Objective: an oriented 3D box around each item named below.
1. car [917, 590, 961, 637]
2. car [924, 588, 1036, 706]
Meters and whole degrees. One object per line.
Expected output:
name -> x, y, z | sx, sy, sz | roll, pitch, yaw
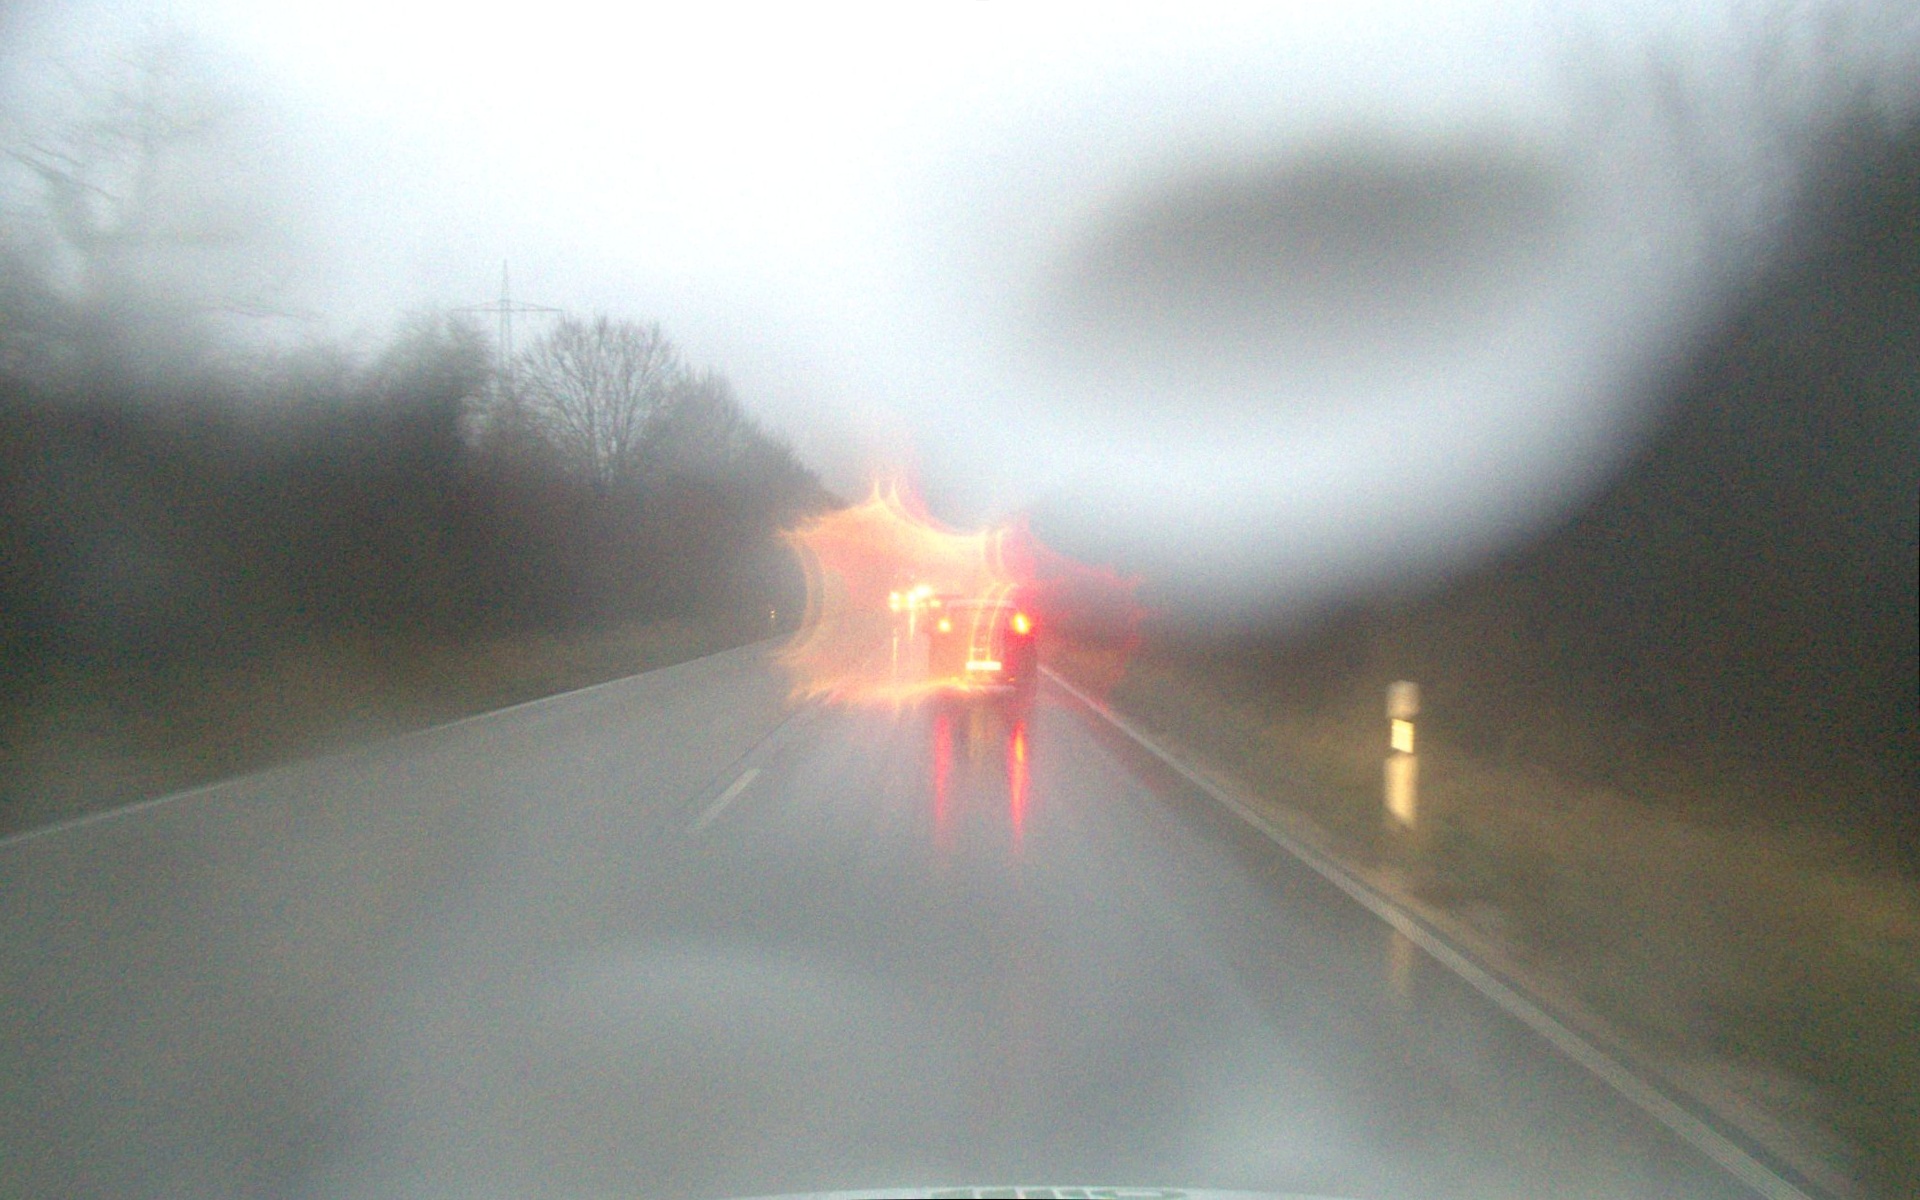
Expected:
car -> -0.874, 0.544, 66.661 | 1.698, 1.810, 3.999 | 1, 0, -1
car -> 0.272, 0.688, 25.871 | 1.614, 1.701, 3.513 | 1, 0, -1
